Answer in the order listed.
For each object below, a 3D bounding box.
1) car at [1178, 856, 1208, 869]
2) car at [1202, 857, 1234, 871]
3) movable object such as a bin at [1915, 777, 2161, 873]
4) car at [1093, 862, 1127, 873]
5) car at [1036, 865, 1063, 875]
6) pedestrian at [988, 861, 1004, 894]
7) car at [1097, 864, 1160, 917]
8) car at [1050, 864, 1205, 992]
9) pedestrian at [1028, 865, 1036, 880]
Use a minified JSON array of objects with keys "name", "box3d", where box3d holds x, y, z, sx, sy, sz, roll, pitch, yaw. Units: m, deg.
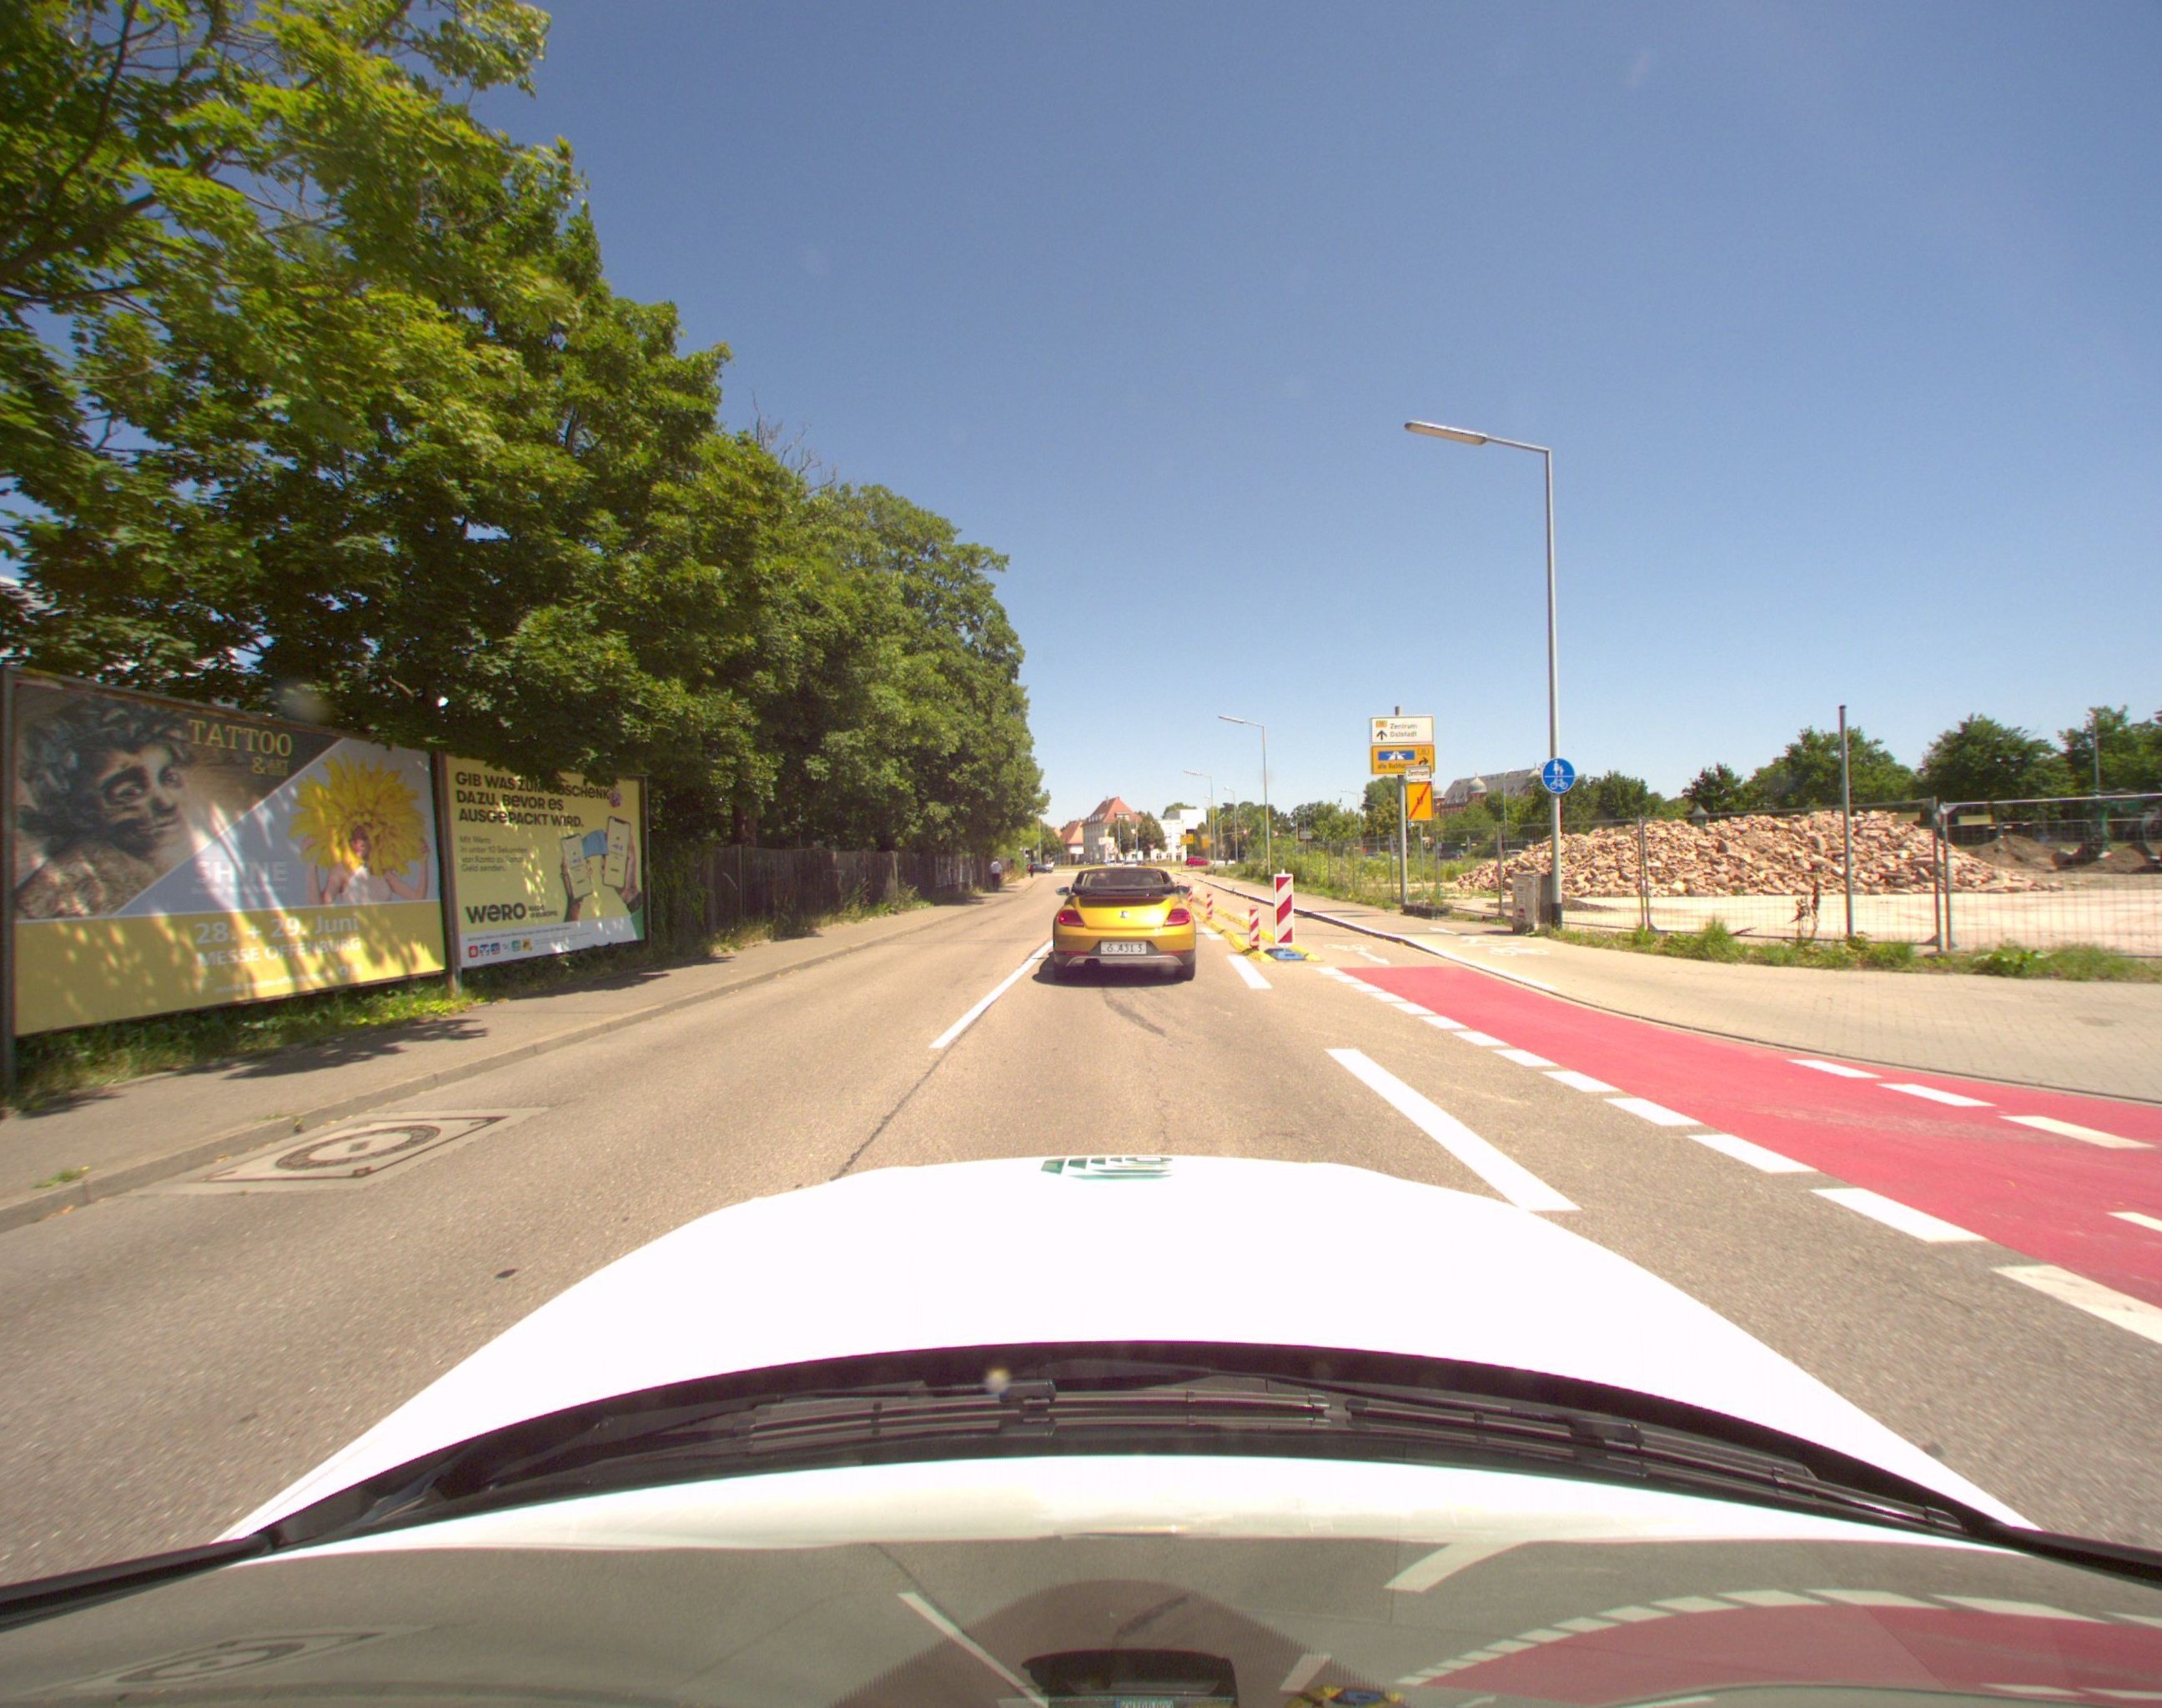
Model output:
[{"name":"car","box3d":[15.954,1.195,115.518,4.037,1.677,1.790,-2,-1,11]},{"name":"car","box3d":[18.004,1.335,107.272,4.038,1.677,1.790,-2,-1,10]},{"name":"movable object such as a bin","box3d":[39.198,-1.034,30.688,4.920,3.260,10.473,-2,-1,2]},{"name":"car","box3d":[3.954,1.824,109.736,4.413,1.358,1.541,-2,-1,9]},{"name":"car","box3d":[-4.294,2.167,111.767,3.414,1.275,1.411,-2,-1,11]},{"name":"pedestrian","box3d":[-4.516,1.247,43.352,0.720,1.725,0.818,-1,-1,-1]},{"name":"car","box3d":[1.471,1.054,24.813,1.719,1.443,4.004,-2,-1,4]},{"name":"car","box3d":[0.612,0.889,11.456,1.783,1.436,3.815,-2,-1,2]},{"name":"pedestrian","box3d":[-4.922,1.814,81.198,0.720,1.454,0.818,-1,-1,-1]}]
